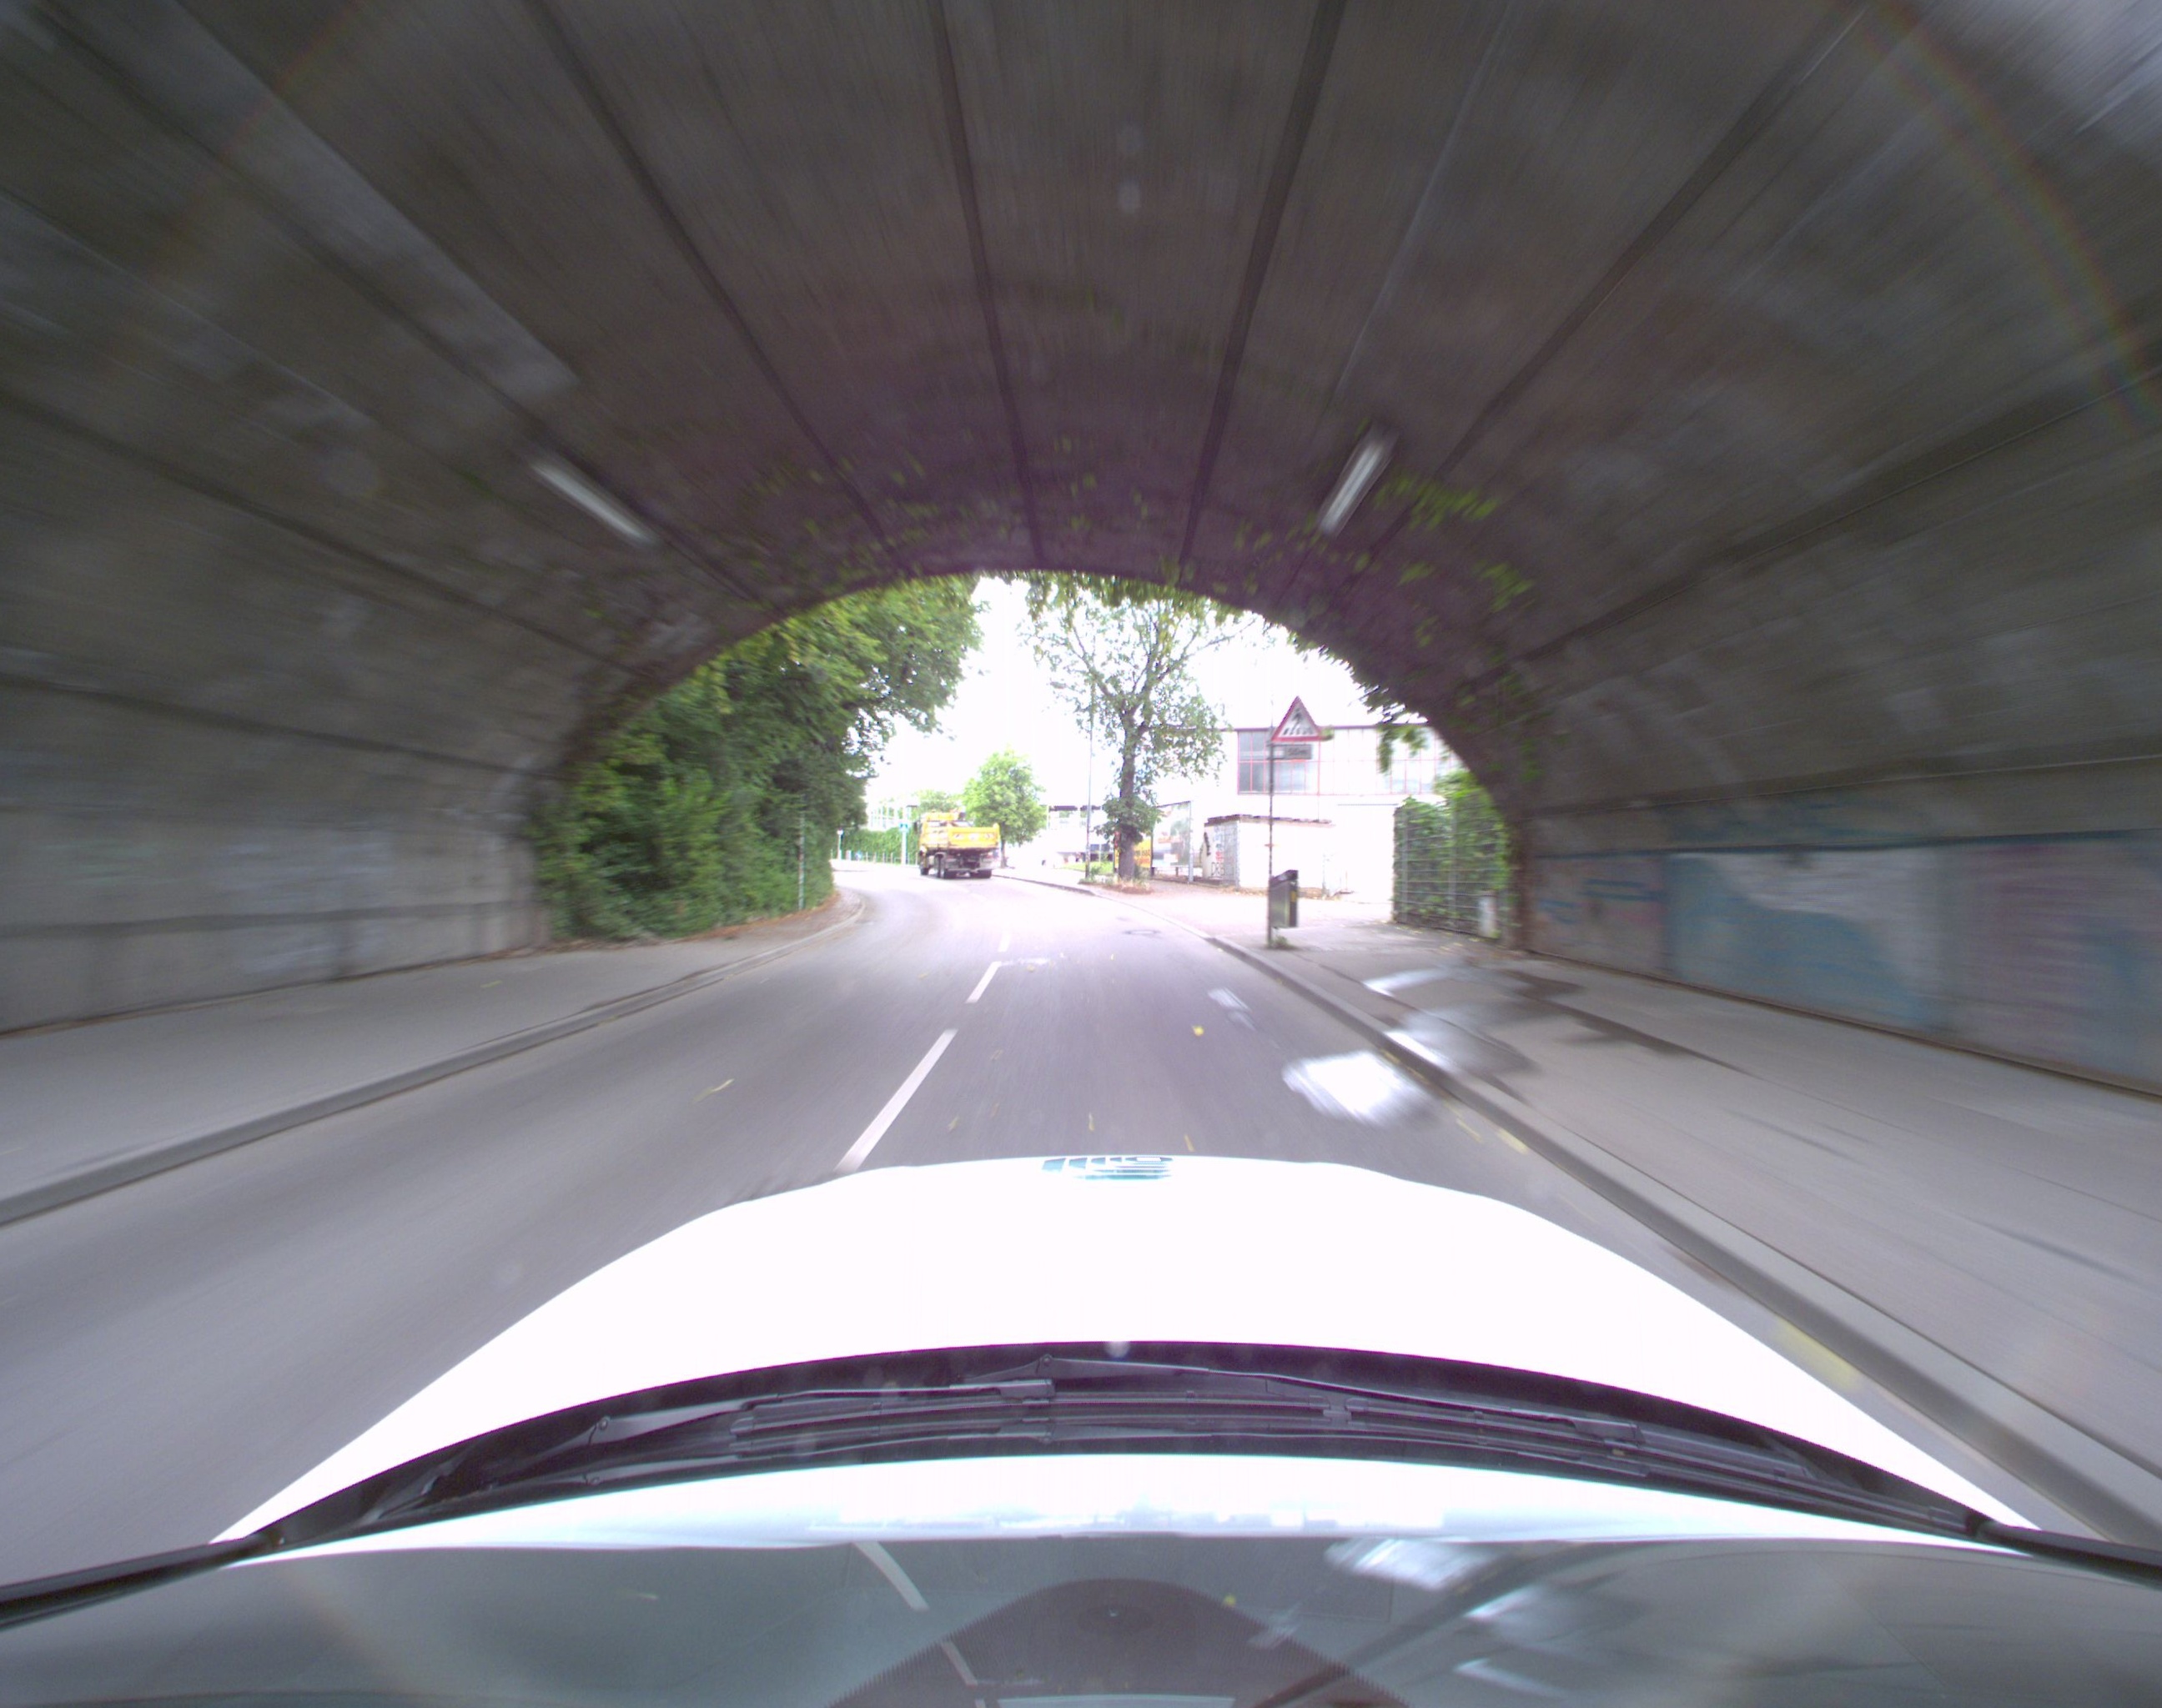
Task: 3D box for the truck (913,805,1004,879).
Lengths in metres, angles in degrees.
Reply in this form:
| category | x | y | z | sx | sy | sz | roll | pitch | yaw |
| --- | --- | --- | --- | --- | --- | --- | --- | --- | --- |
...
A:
| category | x | y | z | sx | sy | sz | roll | pitch | yaw |
| --- | --- | --- | --- | --- | --- | --- | --- | --- | --- |
| truck | -6.641 | -0.682 | 43.021 | 2.776 | 3.483 | 8.069 | 2 | 1 | -23 |

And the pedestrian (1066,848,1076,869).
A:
| category | x | y | z | sx | sy | sz | roll | pitch | yaw |
| --- | --- | --- | --- | --- | --- | --- | --- | --- | --- |
| pedestrian | -0.830 | 0.396 | 69.110 | 0.811 | 1.703 | 0.749 | 1 | -2 | 2 |

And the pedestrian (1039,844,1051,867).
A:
| category | x | y | z | sx | sy | sz | roll | pitch | yaw |
| --- | --- | --- | --- | --- | --- | --- | --- | --- | --- |
| pedestrian | -2.711 | 0.115 | 60.923 | 0.845 | 1.684 | 0.939 | 0 | -2 | -1 |

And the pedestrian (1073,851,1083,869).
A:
| category | x | y | z | sx | sy | sz | roll | pitch | yaw |
| --- | --- | --- | --- | --- | --- | --- | --- | --- | --- |
| pedestrian | -0.261 | 0.514 | 70.737 | 0.796 | 1.583 | 0.802 | 1 | -2 | 2 |
